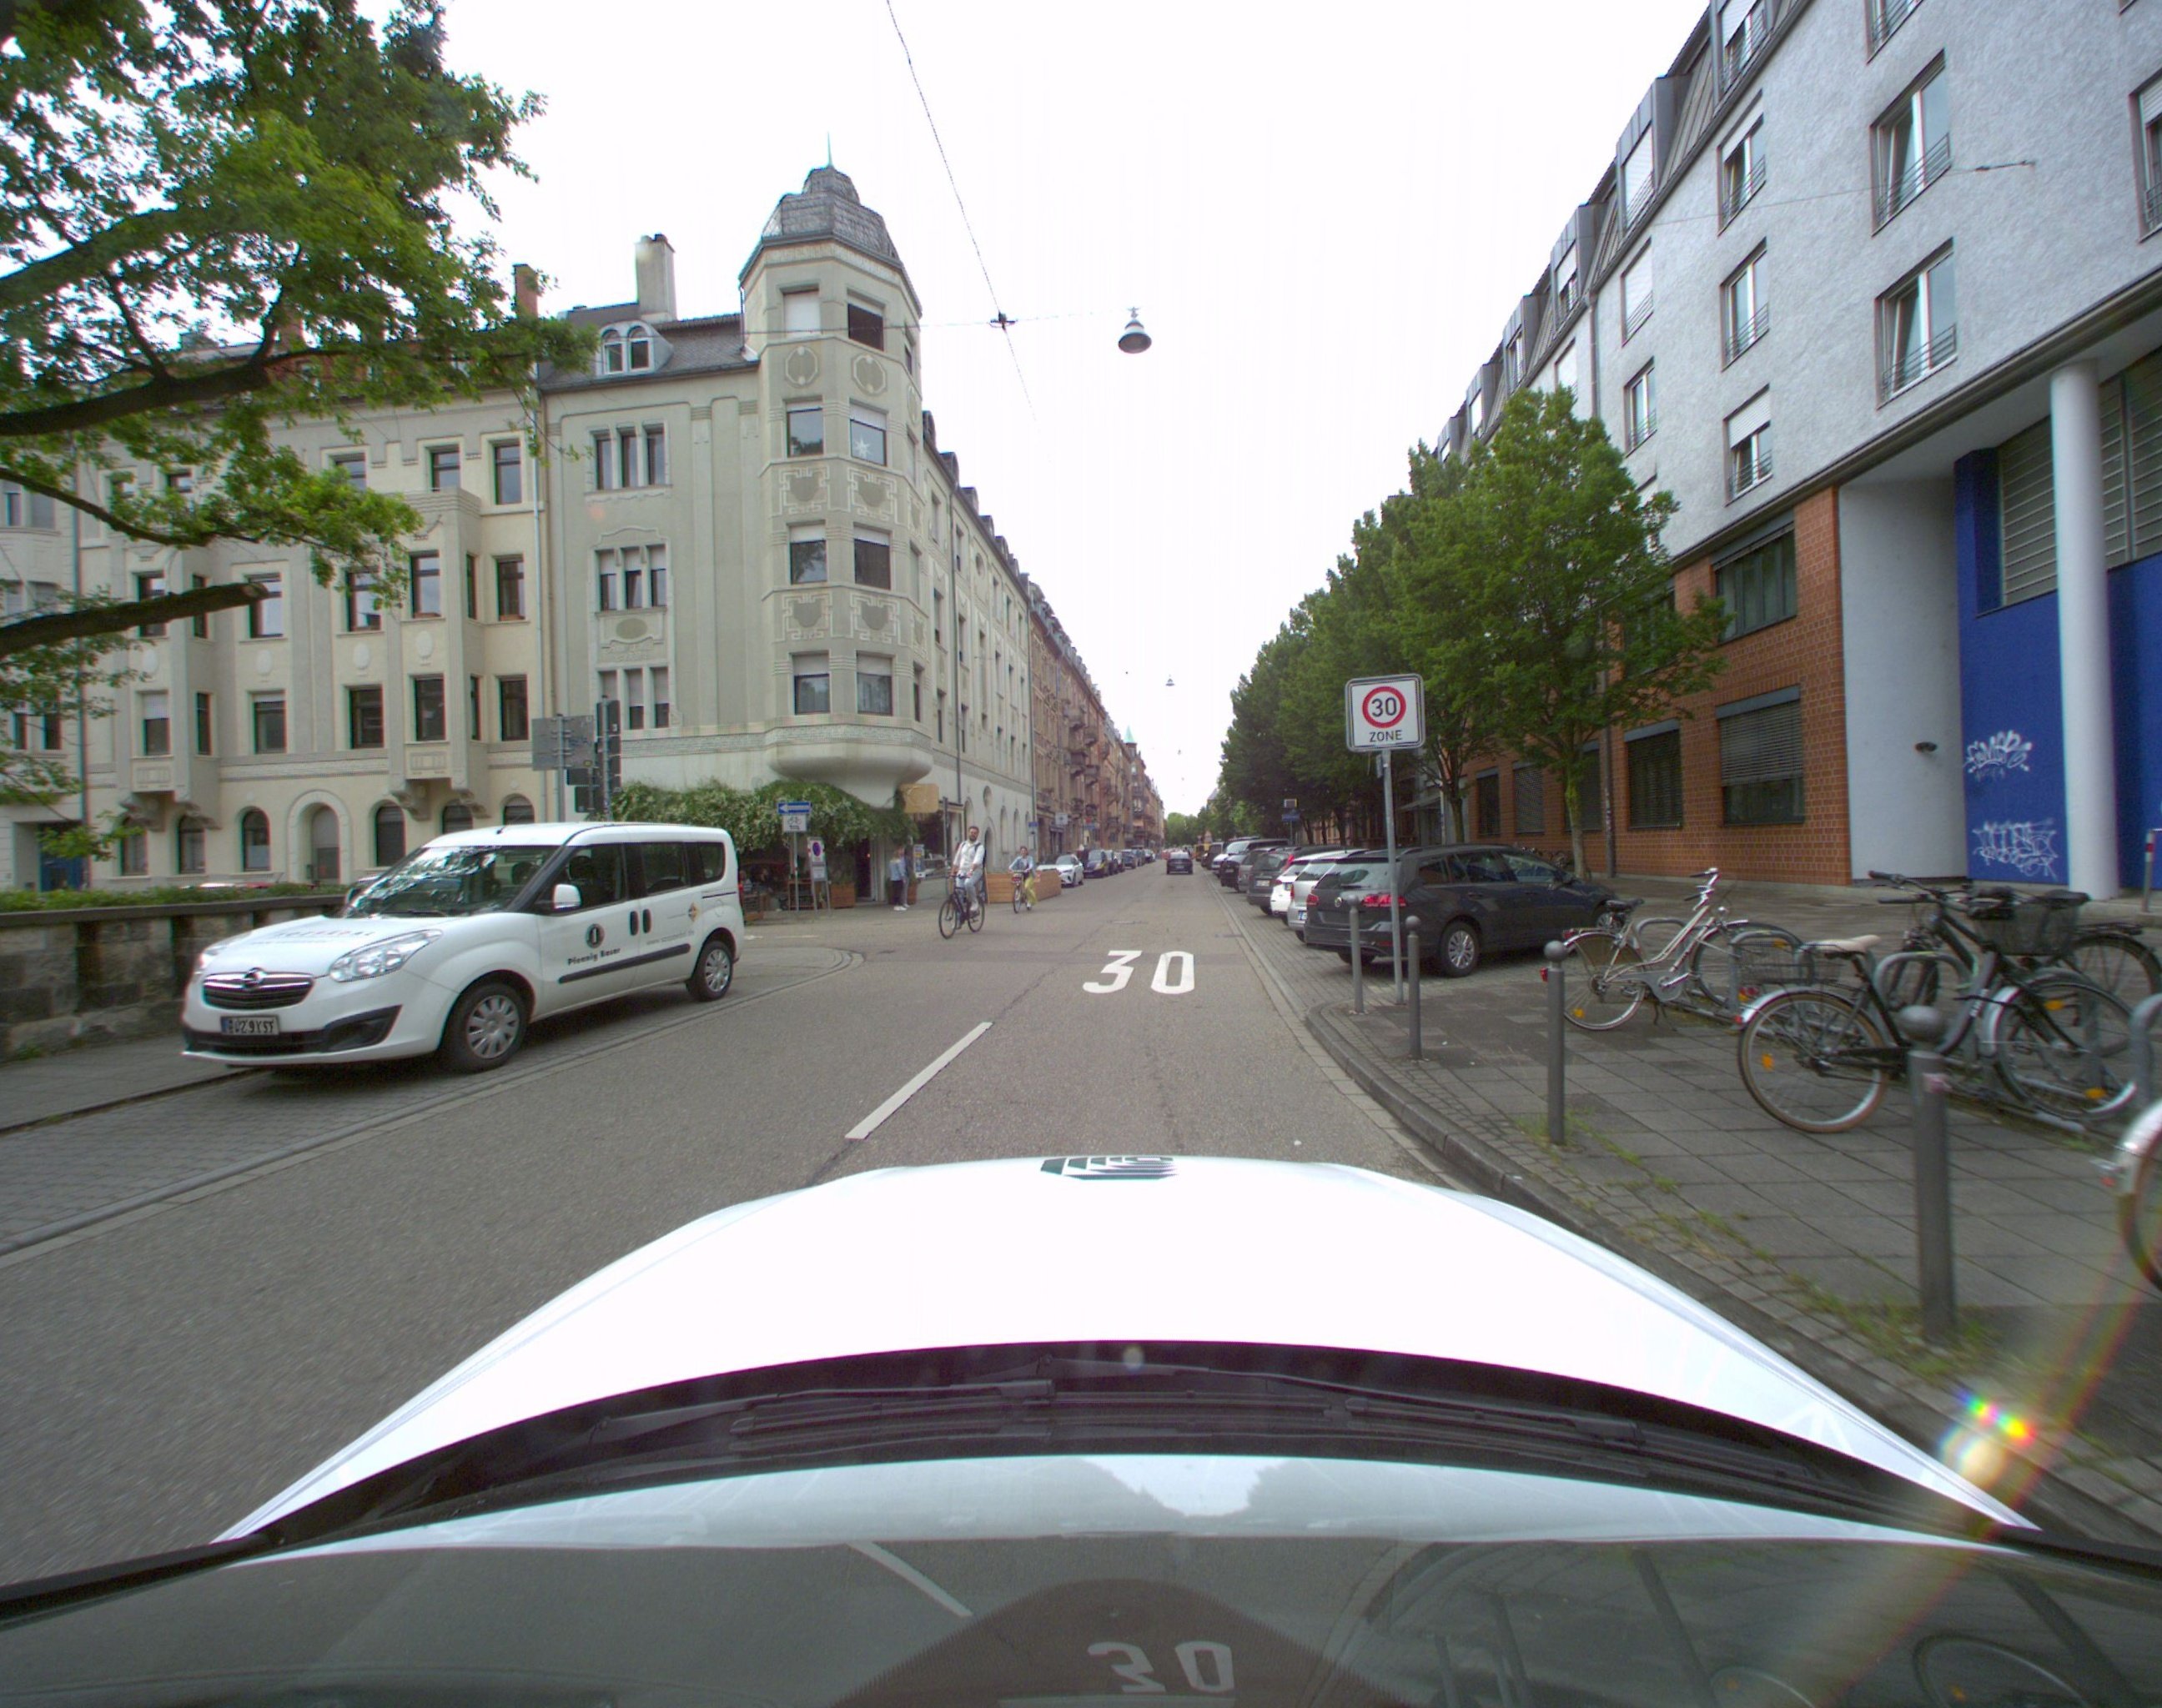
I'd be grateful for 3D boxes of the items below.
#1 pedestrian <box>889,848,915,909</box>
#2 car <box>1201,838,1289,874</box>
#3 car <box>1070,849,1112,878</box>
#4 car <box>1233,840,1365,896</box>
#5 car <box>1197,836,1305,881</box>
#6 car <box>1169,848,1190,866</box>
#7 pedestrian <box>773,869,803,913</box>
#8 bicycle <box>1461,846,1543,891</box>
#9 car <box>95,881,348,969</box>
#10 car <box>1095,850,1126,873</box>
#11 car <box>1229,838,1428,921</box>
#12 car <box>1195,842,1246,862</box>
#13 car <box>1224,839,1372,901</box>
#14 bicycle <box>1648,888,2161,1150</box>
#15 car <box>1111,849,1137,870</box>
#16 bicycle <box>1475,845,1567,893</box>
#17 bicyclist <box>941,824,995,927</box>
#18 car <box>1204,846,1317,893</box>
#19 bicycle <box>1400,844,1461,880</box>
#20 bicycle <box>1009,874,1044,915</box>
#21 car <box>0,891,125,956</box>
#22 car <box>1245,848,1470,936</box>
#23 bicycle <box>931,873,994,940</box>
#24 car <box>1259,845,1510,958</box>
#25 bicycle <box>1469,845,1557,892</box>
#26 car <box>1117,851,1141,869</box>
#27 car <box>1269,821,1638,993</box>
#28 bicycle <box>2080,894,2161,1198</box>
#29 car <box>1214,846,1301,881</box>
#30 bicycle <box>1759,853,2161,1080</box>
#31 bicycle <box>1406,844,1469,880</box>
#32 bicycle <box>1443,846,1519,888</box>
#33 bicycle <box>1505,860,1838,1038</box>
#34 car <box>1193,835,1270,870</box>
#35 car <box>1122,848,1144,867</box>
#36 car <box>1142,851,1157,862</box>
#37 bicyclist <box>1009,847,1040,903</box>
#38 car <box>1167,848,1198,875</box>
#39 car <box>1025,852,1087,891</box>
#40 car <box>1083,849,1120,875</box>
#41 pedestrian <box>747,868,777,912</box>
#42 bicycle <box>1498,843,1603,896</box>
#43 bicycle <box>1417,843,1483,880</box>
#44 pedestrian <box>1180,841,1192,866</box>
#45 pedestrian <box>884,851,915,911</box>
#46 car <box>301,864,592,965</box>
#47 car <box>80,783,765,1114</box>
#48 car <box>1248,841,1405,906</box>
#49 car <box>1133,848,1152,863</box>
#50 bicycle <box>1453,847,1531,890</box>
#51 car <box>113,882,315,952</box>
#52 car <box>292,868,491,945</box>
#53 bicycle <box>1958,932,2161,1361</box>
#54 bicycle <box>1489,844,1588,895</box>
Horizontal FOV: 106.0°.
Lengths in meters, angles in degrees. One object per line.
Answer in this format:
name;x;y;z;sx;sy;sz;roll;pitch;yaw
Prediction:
pedestrian;-5.173;0.693;23.542;0.582;1.734;0.501;-1;-2;-29
car;10.403;0.116;51.594;5.416;1.992;1.933;-3;-1;-27
car;0.616;0.523;47.495;1.933;1.617;3.951;-1;0;7
car;7.251;0.449;27.064;4.069;1.585;1.755;-3;-1;-27
car;9.136;0.226;43.569;5.638;2.127;1.933;-3;-1;-27
car;9.775;0.297;80.995;1.983;1.681;4.007;-2;-1;6
pedestrian;-8.277;1.047;22.995;0.575;1.197;0.556;-2;1;7
bicycle;10.740;0.372;20.822;1.743;1.092;0.566;-2;-1;6
car;-16.023;1.297;15.265;3.337;1.483;1.473;-2;-1;5
car;2.235;0.523;59.860;1.934;1.617;3.950;-1;0;7
car;5.648;0.531;18.602;4.066;1.585;1.888;-3;-1;-24
car;15.584;-0.216;91.138;5.409;1.868;1.936;-3;-1;-23
car;6.540;0.462;24.585;4.065;1.585;1.757;-3;-1;-24
bicycle;3.882;0.739;3.855;1.875;1.043;0.612;-3;-1;4
car;3.685;0.462;69.148;1.934;1.617;3.950;-2;0;7
bicycle;10.475;0.365;19.415;1.826;1.092;0.544;-2;-1;6
bicyclist;-2.109;0.396;15.285;0.777;1.866;0.716;-2;0;9
car;6.604;0.551;29.837;3.878;1.505;1.753;-3;-1;-33
bicycle;11.443;0.267;26.699;1.743;1.092;0.566;-2;-1;6
bicycle;-1.385;1.014;20.862;0.532;0.977;1.868;-2;-1;7
car;-29.848;1.985;23.000;3.799;1.556;1.702;-3;2;5
car;5.420;0.660;15.967;3.991;1.543;1.861;0;0;-24
bicycle;-2.170;0.944;15.147;0.564;1.087;1.991;-2;0;9
car;4.830;0.650;12.953;3.575;1.499;1.829;-2;0;-28
bicycle;10.693;0.368;20.192;1.826;1.092;0.566;-2;-1;6
car;4.433;0.555;74.549;1.934;1.617;3.950;-1;0;7
car;4.702;0.539;10.229;4.296;1.578;1.847;-4;0;-26
bicycle;4.818;0.648;2.766;1.920;1.077;0.612;-3;-1;4
car;8.665;0.452;39.994;3.872;1.505;1.755;-3;-1;-27
bicycle;5.175;0.617;4.706;1.875;1.141;0.612;-3;-1;4
bicycle;11.408;0.256;26.084;1.743;1.092;0.566;-2;-1;6
bicycle;10.895;0.365;22.205;1.743;1.092;0.566;-2;-1;6
bicycle;4.221;0.667;5.926;1.875;1.141;0.612;-3;-1;4
car;11.589;-0.118;62.741;5.394;2.373;1.941;-3;-1;-14
car;5.170;0.336;80.823;1.933;1.741;3.951;-1;0;7
car;9.451;0.357;113.149;1.985;1.321;4.004;-2;-1;4
bicyclist;-1.449;0.541;20.932;0.665;1.399;0.784;-2;-1;4
car;6.775;0.519;54.632;1.983;1.681;4.007;-2;-1;6
car;-1.026;0.721;35.989;1.932;1.553;3.828;-3;0;10
car;1.378;0.506;52.928;1.933;1.617;3.951;-1;0;7
pedestrian;-9.125;1.021;23.305;0.575;1.197;0.556;-2;1;7
bicycle;10.355;0.341;18.002;1.923;1.092;0.578;-2;-1;6
bicycle;11.331;0.238;25.034;1.743;1.092;0.566;-2;-1;6
pedestrian;9.003;-0.021;69.905;0.886;2.146;1.029;-2;-1;6
pedestrian;-5.083;0.747;22.800;0.573;1.660;0.579;-2;-2;28
car;-11.560;1.068;14.997;4.038;1.607;1.771;-2;-1;5
car;-4.898;0.554;7.159;1.832;1.939;4.560;-1;0;9
car;6.664;0.504;22.037;4.071;1.486;1.666;-3;-1;-29
car;7.435;0.181;98.320;1.933;1.738;3.951;-2;0;7
bicycle;10.874;0.393;21.596;1.743;1.092;0.566;-2;-1;6
car;-23.693;1.697;22.338;3.799;1.556;1.702;-3;2;5
car;-18.384;1.374;21.810;3.799;1.716;1.771;-3;2;5
bicycle;3.728;0.737;2.193;1.920;1.043;0.612;-3;-1;4
bicycle;10.427;0.351;18.605;1.885;1.092;0.544;-2;-1;6
